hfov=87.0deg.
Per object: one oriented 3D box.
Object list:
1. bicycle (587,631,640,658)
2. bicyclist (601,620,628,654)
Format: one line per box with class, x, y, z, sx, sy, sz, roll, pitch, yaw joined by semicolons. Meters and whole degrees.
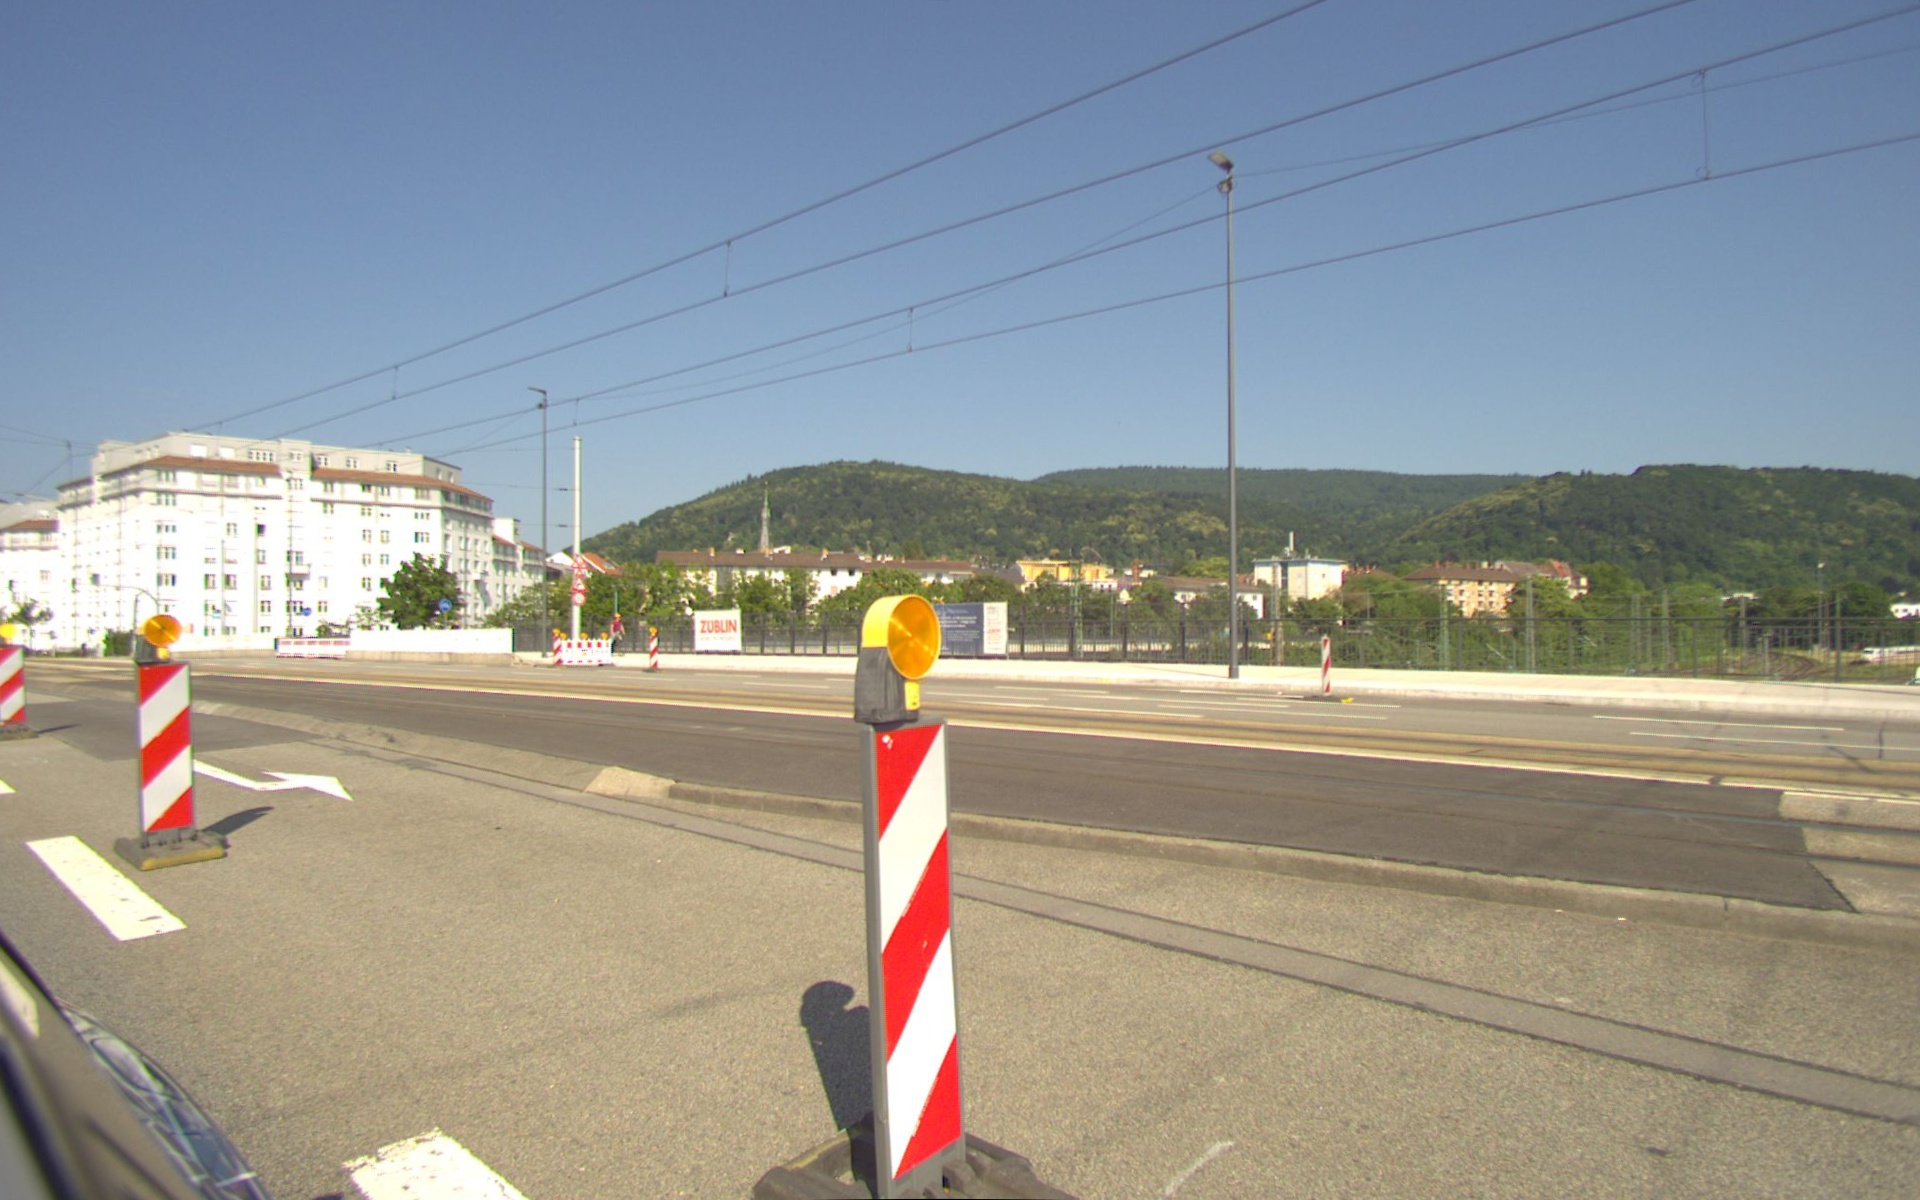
bicycle;-15.927;2.035;46.463;3.069;1.204;0.847;-2;-1;40
bicyclist;-15.853;1.681;46.389;0.816;1.530;0.847;-2;-1;40
